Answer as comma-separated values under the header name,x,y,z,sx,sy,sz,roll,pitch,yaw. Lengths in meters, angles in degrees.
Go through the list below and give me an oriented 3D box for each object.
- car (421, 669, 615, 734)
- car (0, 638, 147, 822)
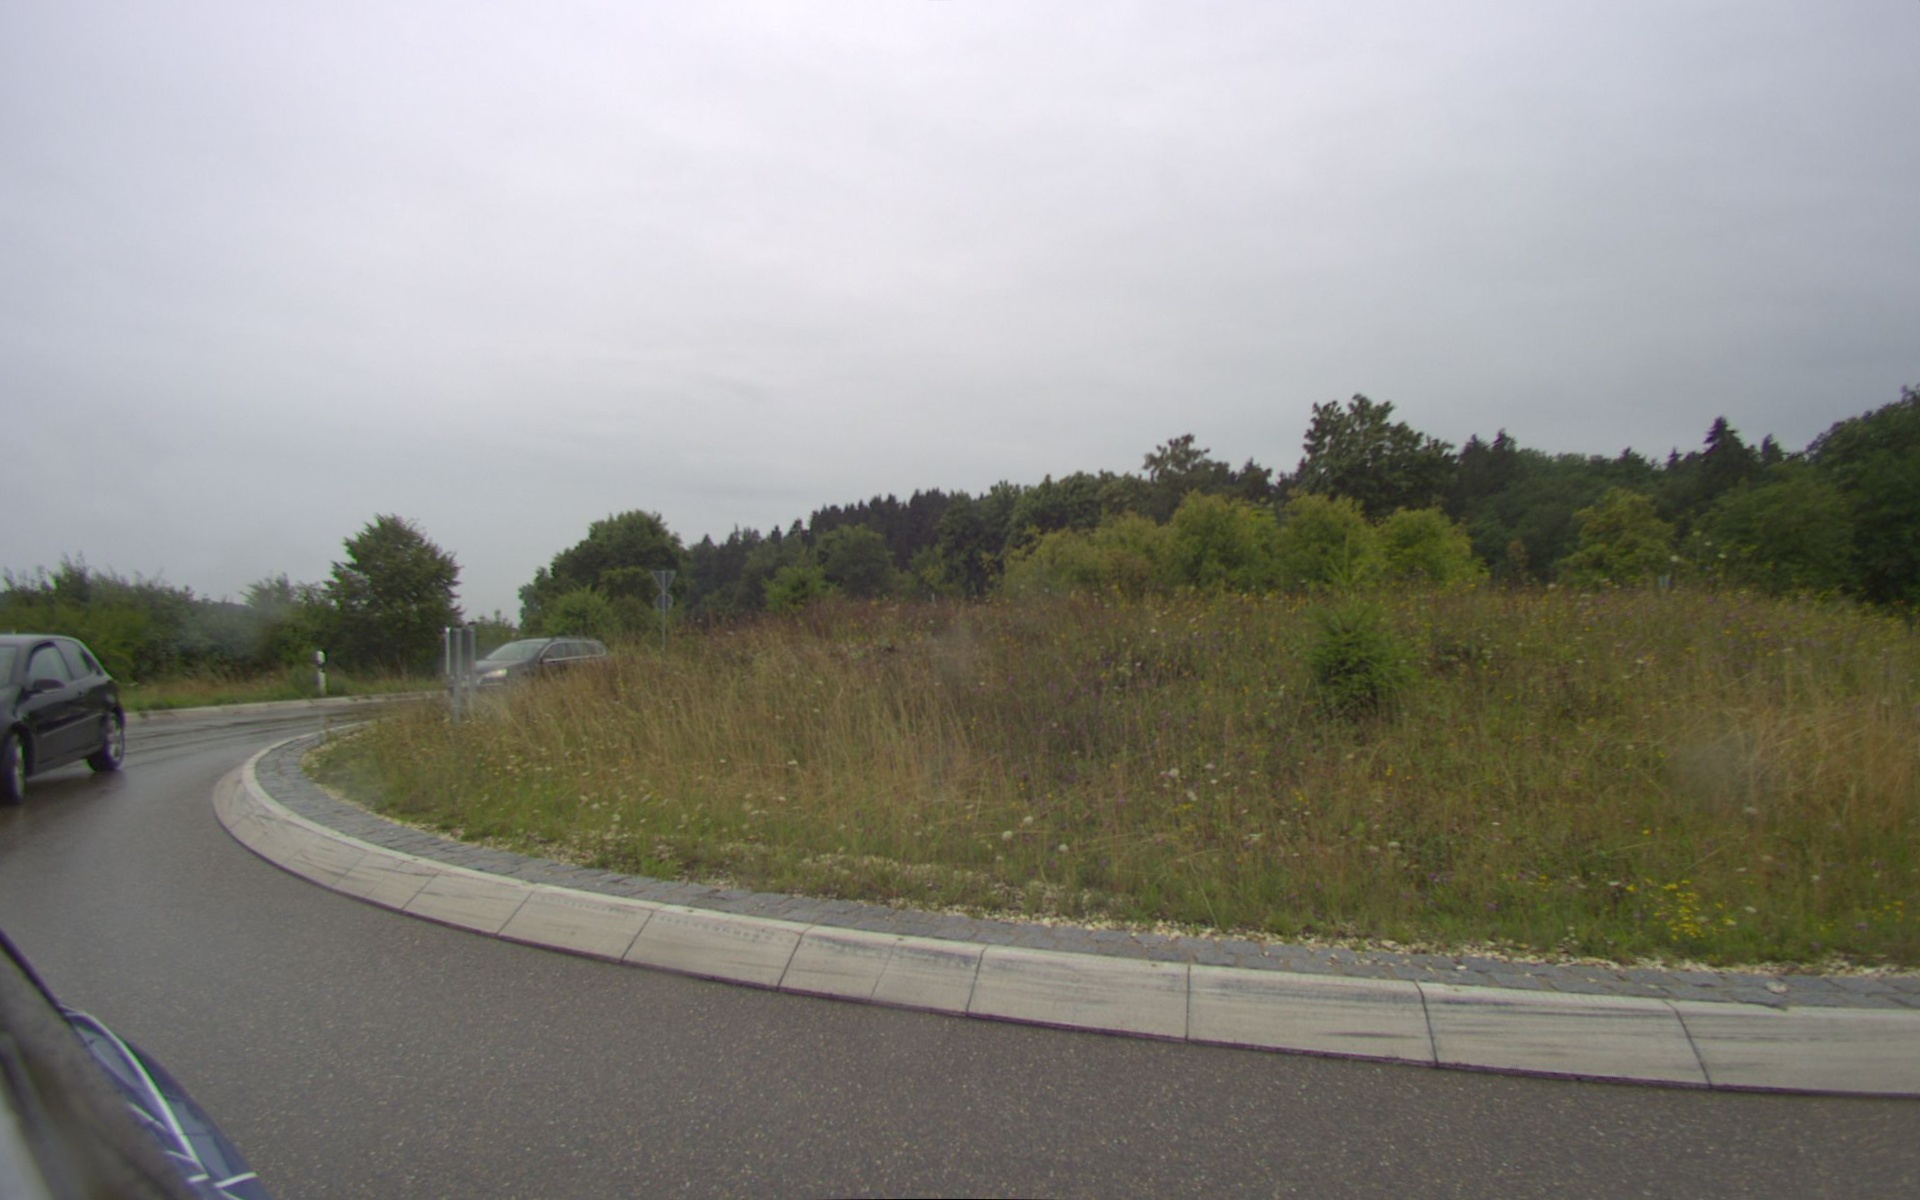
name,x,y,z,sx,sy,sz,roll,pitch,yaw
car,-10.246,2.320,23.907,1.930,1.382,4.484,-1,-4,13
car,-9.235,1.107,9.310,1.842,1.432,4.517,1,-3,-27
